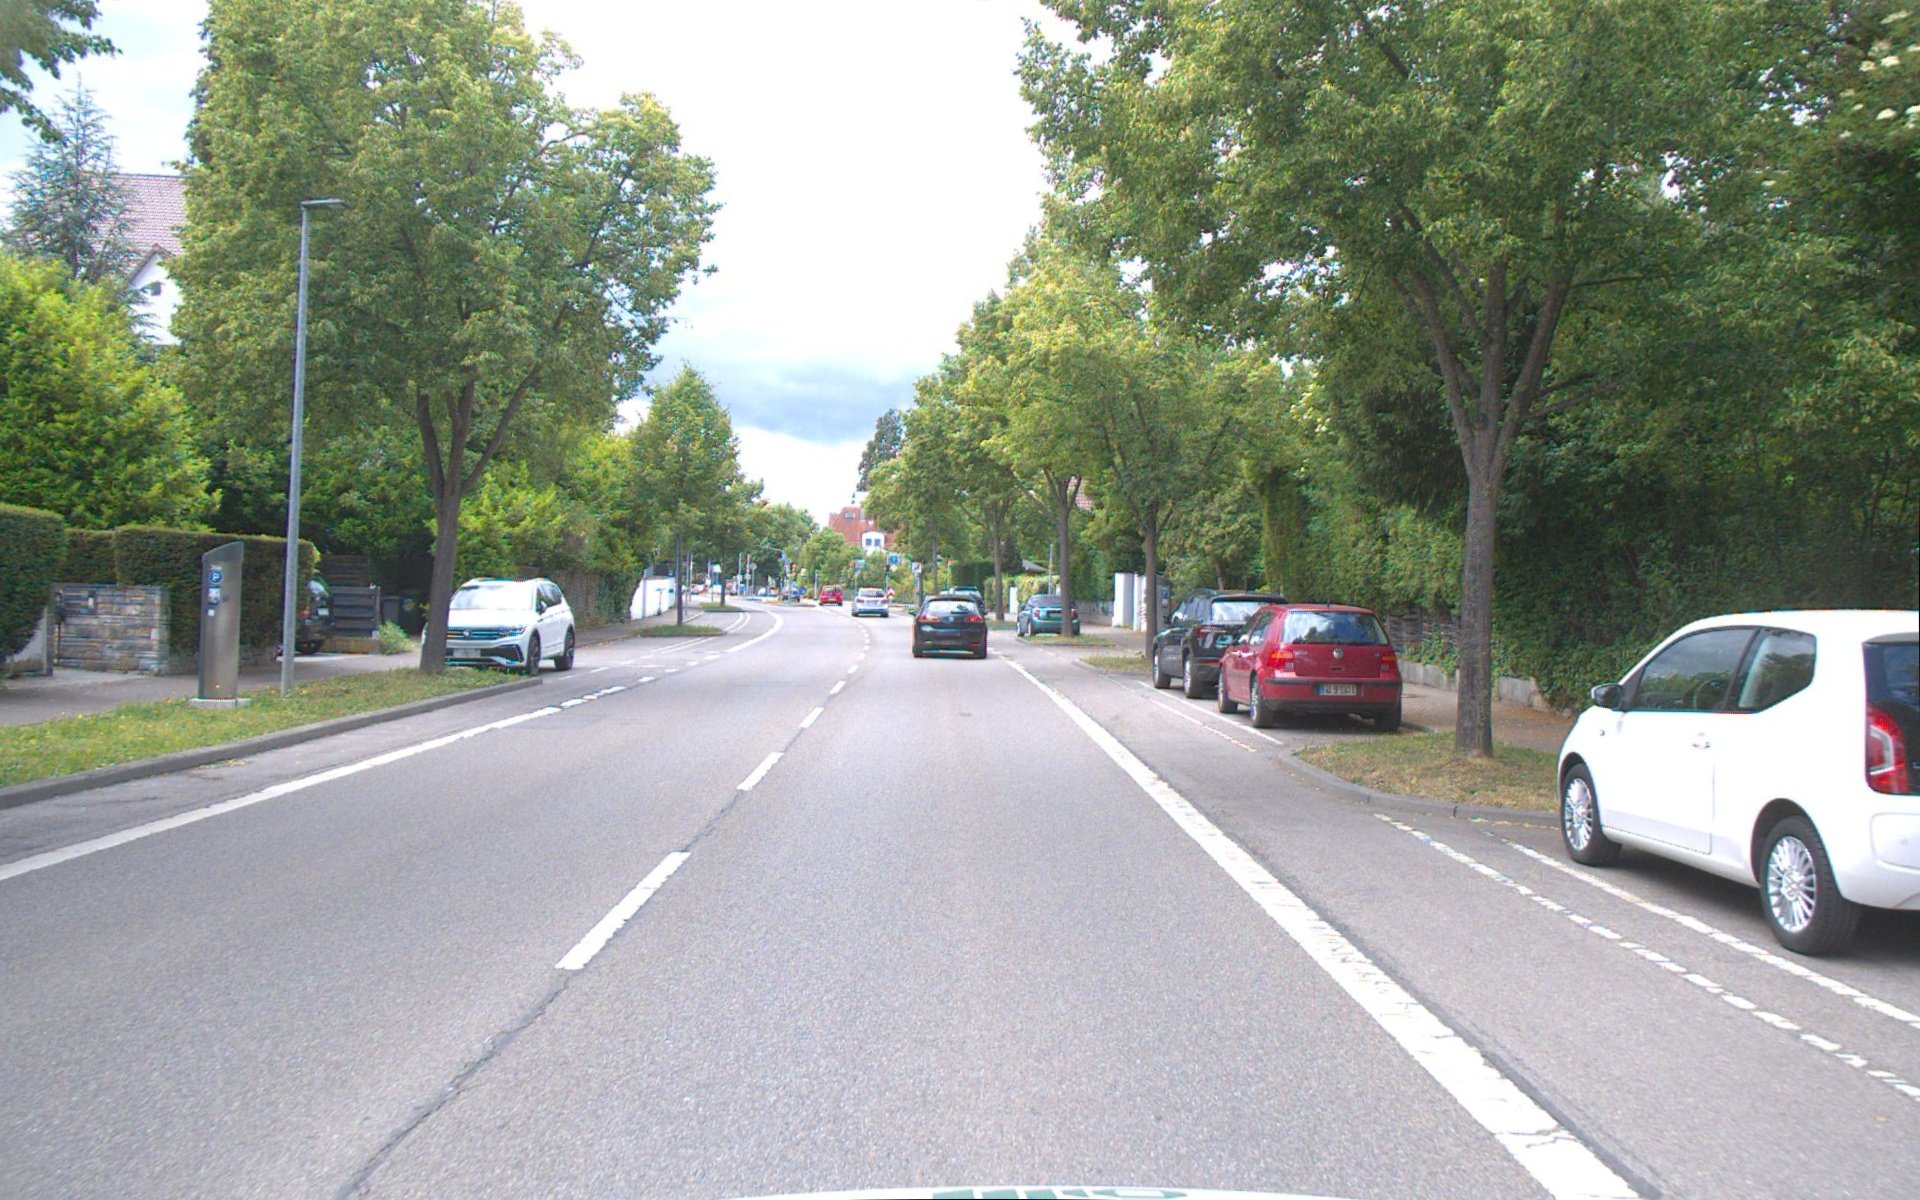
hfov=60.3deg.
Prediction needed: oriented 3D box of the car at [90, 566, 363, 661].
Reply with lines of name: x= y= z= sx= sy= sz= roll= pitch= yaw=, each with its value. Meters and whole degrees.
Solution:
car: x=-13.154 y=0.234 z=29.838 sx=4.112 sy=1.613 sz=1.764 roll=1 pitch=0 yaw=-1

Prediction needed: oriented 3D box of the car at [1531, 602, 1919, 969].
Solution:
car: x=4.429 y=0.772 z=8.635 sx=1.583 sy=1.485 sz=3.656 roll=1 pitch=0 yaw=-1

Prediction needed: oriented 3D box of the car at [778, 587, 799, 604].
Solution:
car: x=-16.288 y=-0.443 z=157.285 sx=1.955 sy=1.534 sz=3.995 roll=2 pitch=-1 yaw=-6

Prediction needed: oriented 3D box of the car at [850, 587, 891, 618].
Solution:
car: x=-4.755 y=0.152 z=87.342 sx=1.955 sy=1.585 sz=3.995 roll=0 pitch=-1 yaw=-6

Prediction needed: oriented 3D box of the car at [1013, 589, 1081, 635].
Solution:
car: x=2.884 y=0.371 z=55.513 sx=1.650 sy=1.457 sz=4.039 roll=1 pitch=0 yaw=-6

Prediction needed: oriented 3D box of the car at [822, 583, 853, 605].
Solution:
car: x=-9.085 y=-0.472 z=122.211 sx=1.957 sy=1.557 sz=3.992 roll=1 pitch=0 yaw=-9

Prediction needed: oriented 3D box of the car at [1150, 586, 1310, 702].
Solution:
car: x=4.144 y=0.633 z=26.004 sx=1.605 sy=1.644 sz=4.167 roll=1 pitch=0 yaw=-3

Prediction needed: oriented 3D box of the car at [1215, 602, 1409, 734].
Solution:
car: x=4.248 y=0.759 z=20.528 sx=1.604 sy=1.445 sz=4.000 roll=1 pitch=0 yaw=1

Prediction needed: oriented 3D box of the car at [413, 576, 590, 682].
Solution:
car: x=-8.017 y=0.460 z=29.374 sx=1.835 sy=1.718 sz=4.865 roll=1 pitch=0 yaw=-1

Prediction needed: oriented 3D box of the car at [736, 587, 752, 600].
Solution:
car: x=-29.628 y=-0.858 z=226.968 sx=1.934 sy=1.705 sz=3.874 roll=1 pitch=0 yaw=-4

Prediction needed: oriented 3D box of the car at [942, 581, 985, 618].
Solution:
car: x=0.152 y=-0.028 z=82.975 sx=1.754 sy=1.803 sz=3.977 roll=1 pitch=0 yaw=-6

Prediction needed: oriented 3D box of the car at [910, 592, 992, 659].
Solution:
car: x=-0.248 y=0.576 z=38.918 sx=1.747 sy=1.474 sz=3.556 roll=1 pitch=0 yaw=-3

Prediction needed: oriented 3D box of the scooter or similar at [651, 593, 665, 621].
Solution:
scooter or similar: x=-13.038 y=0.294 z=71.372 sx=0.492 sy=1.174 sz=1.299 roll=1 pitch=0 yaw=-6
